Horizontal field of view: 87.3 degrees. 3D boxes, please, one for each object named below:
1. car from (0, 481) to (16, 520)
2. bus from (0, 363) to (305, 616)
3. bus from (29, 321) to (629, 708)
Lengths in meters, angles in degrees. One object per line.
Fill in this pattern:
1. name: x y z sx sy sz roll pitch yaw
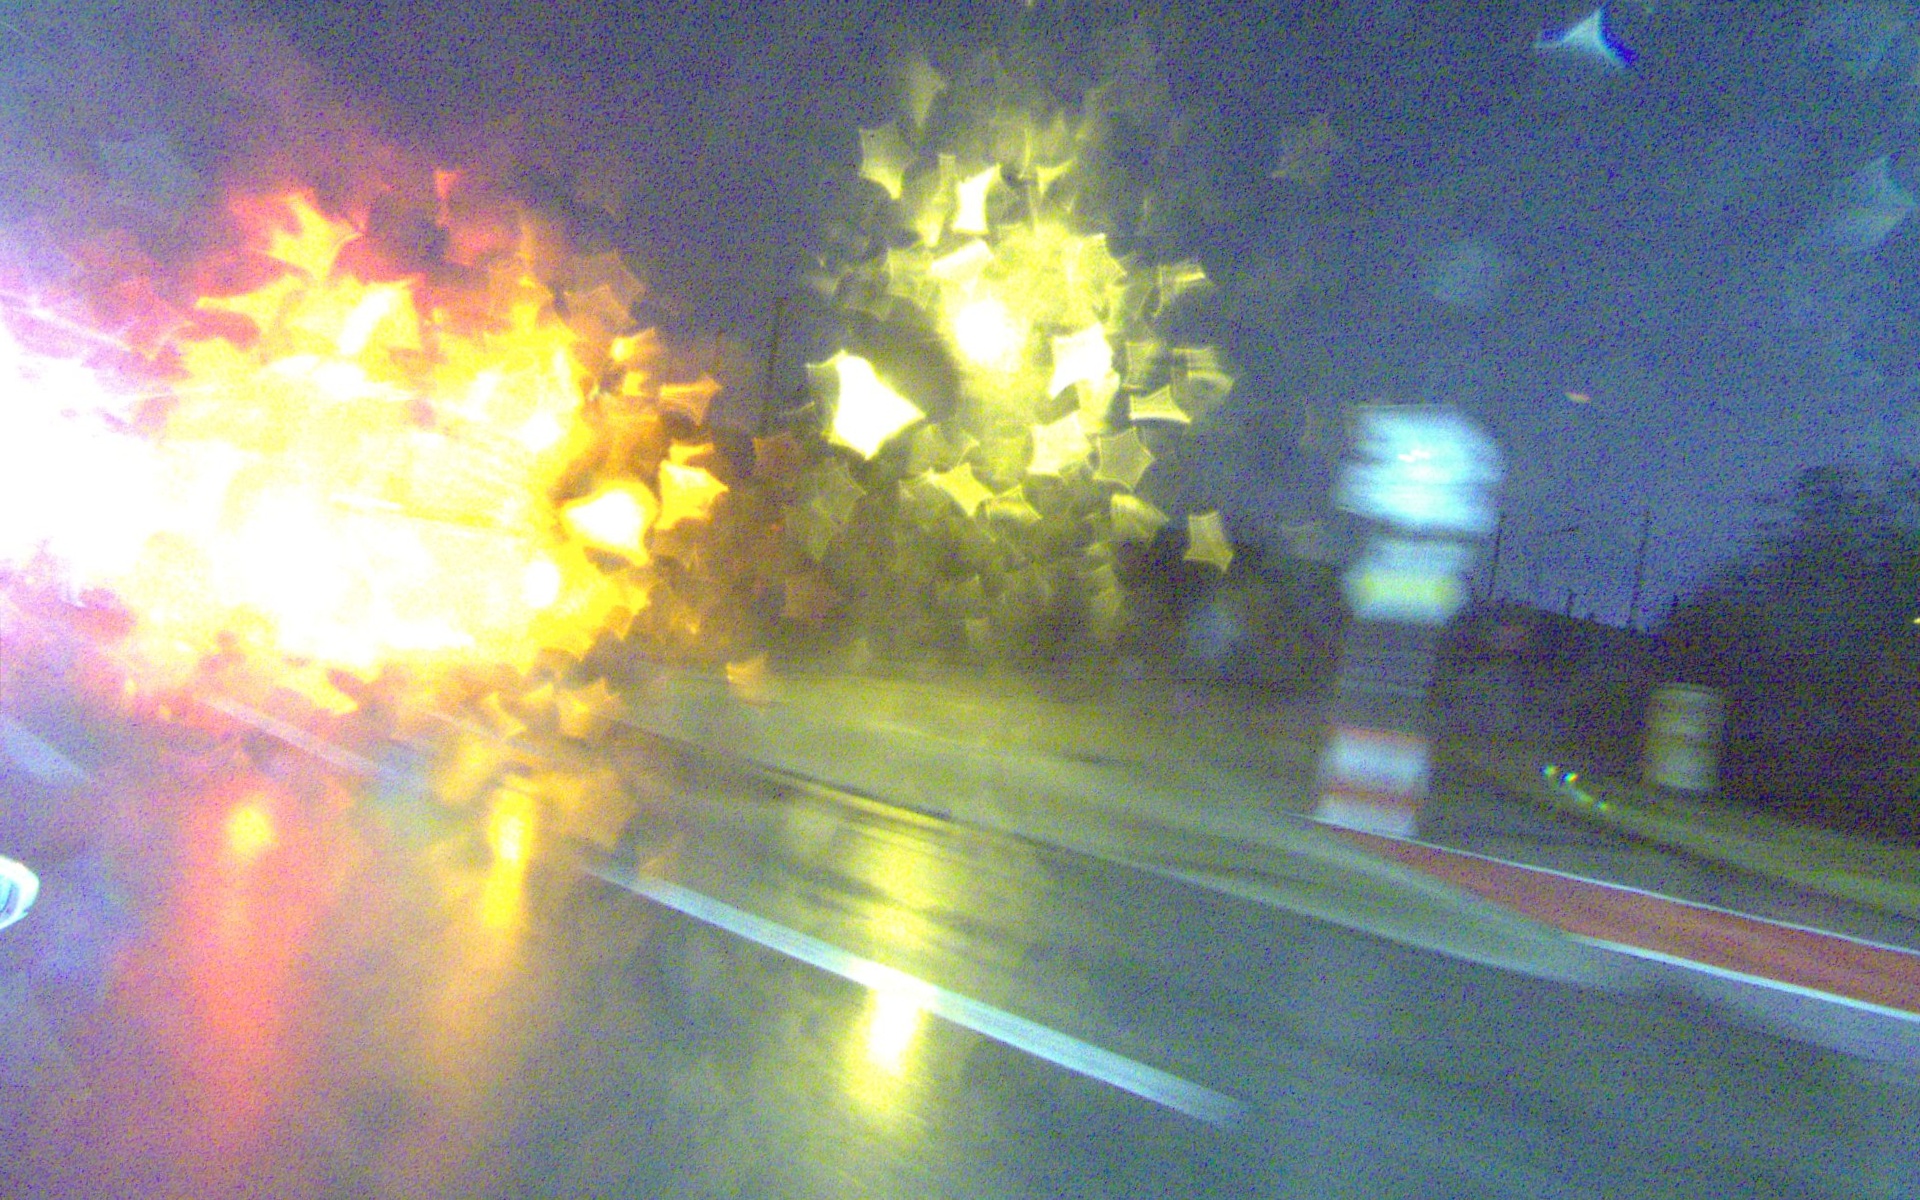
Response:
1. car: -44.991 -4.698 46.133 1.778 1.704 3.962 8 -1 -35
2. bus: -15.075 -1.926 17.950 8.920 3.251 3.041 7 0 40
3. bus: -8.183 -1.026 12.340 8.912 3.251 3.044 7 0 37
